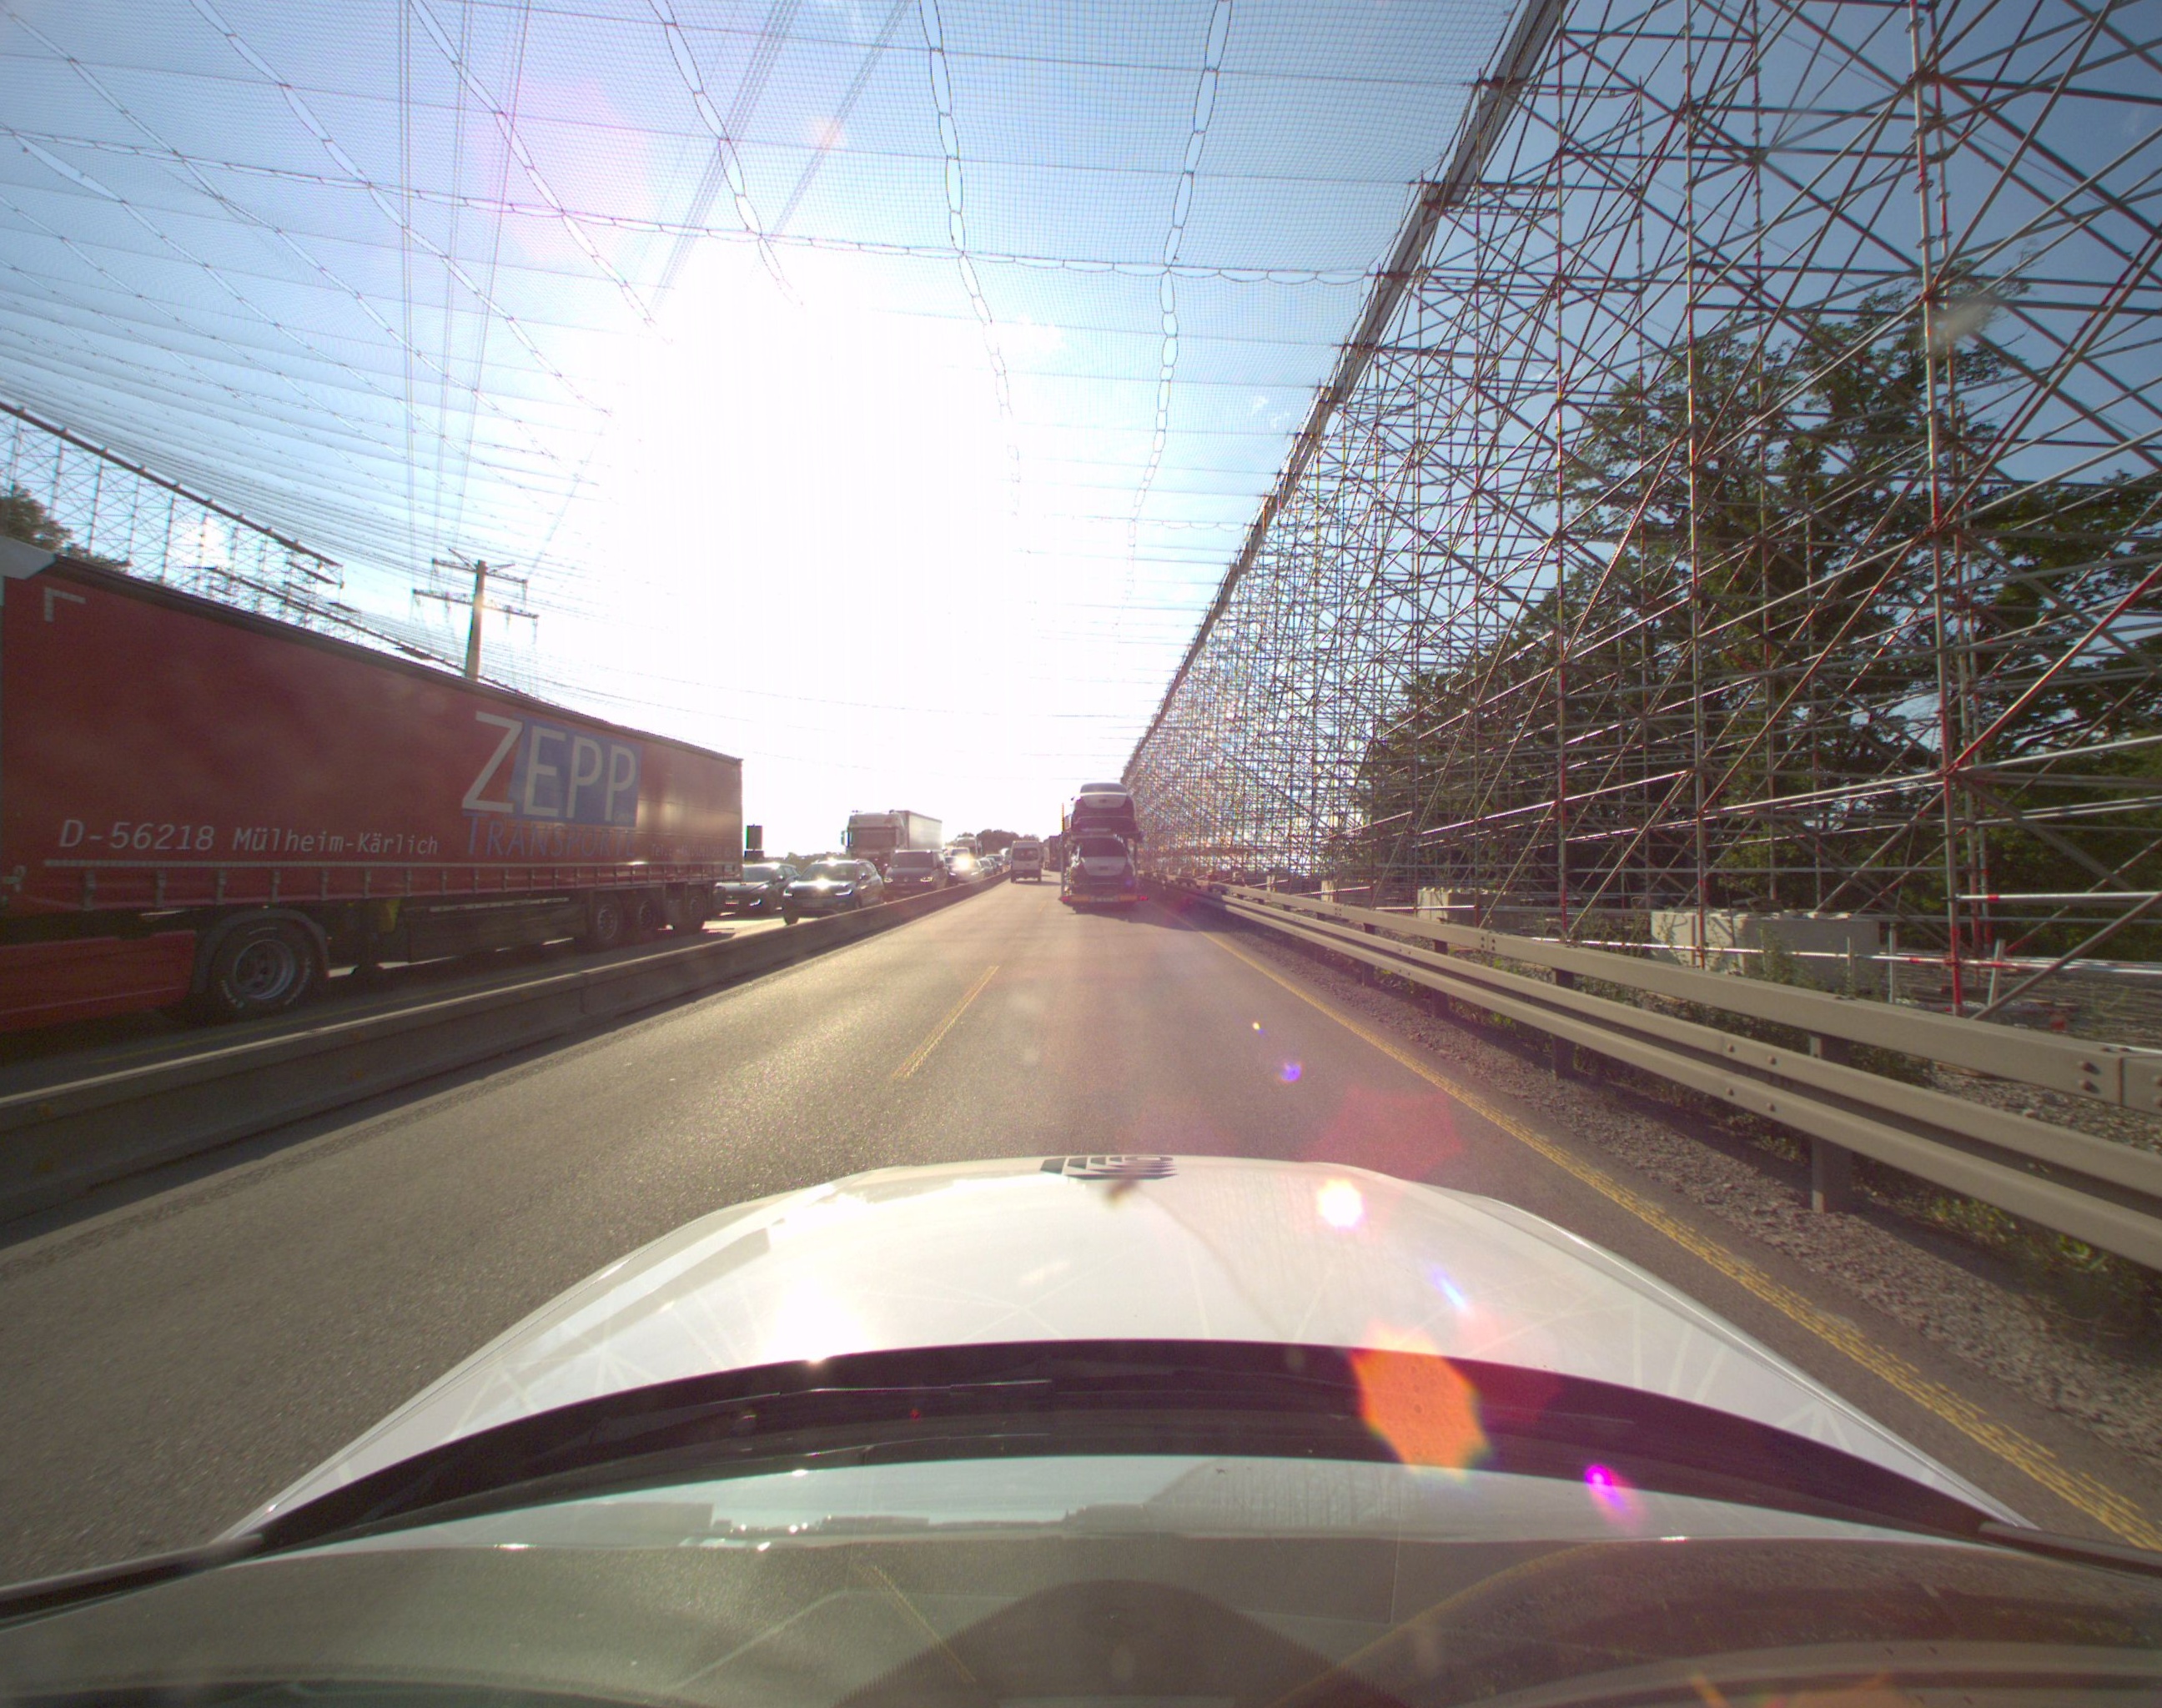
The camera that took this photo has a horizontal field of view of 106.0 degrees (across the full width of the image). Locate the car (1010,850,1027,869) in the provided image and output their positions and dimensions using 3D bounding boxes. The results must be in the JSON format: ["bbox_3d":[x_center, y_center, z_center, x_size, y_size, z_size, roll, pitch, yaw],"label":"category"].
[{"bbox_3d":[-8.593,0.743,111.667,1.992,2.578,3.989,0,0,-8],"label":"car"}]

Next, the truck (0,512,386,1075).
[{"bbox_3d":[-9.332,-0.426,5.986,2.779,4.141,6.675,-1,-1,-1],"label":"truck"}]

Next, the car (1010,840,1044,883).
[{"bbox_3d":[-3.475,0.498,52.767,1.951,2.621,3.997,-2,-1,-1],"label":"car"}]

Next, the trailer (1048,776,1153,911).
[{"bbox_3d":[0.546,-0.196,30.195,2.860,3.725,14.943,-1,-1,0],"label":"trailer"}]

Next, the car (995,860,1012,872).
[{"bbox_3d":[-9.520,1.415,100.206,1.836,1.453,3.987,0,0,-9],"label":"car"}]

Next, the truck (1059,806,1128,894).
[{"bbox_3d":[0.542,-0.128,38.157,2.872,3.702,7.324,-1,-1,0],"label":"truck"}]

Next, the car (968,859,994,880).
[{"bbox_3d":[-7.501,1.131,61.399,1.739,1.543,4.398,0,0,-5],"label":"car"}]

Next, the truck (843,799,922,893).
[{"bbox_3d":[-9.619,-0.355,40.052,2.657,4.230,6.097,-1,-1,-3],"label":"truck"}]

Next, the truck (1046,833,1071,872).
[{"bbox_3d":[-2.720,-0.137,95.887,2.725,4.386,11.511,0,0,-2],"label":"truck"}]

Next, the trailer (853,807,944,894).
[{"bbox_3d":[-10.037,-0.135,46.661,2.647,4.233,13.905,0,0,-3],"label":"trailer"}]

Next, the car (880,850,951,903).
[{"bbox_3d":[-6.460,0.830,32.291,1.869,1.935,4.859,0,0,-1],"label":"car"}]

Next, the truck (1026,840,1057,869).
[{"bbox_3d":[-6.573,0.143,131.530,3.684,4.221,13.631,-4,0,-7],"label":"truck"}]

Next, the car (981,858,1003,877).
[{"bbox_3d":[-7.952,1.176,72.985,1.691,1.629,3.997,0,0,-2],"label":"car"}]

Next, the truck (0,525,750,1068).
[{"bbox_3d":[-9.435,-0.333,13.070,2.779,4.141,13.800,-1,-1,-1],"label":"truck"}]

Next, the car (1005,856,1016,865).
[{"bbox_3d":[-12.377,1.132,143.066,1.707,1.618,3.498,-1,-1,-4],"label":"car"}]

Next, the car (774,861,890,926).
[{"bbox_3d":[-6.320,0.939,21.173,1.737,1.535,4.265,0,0,-1],"label":"car"}]

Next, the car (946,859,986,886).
[{"bbox_3d":[-6.682,1.059,47.861,1.779,1.502,4.751,0,0,-2],"label":"car"}]

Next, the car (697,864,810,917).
[{"bbox_3d":[-9.689,1.026,24.472,1.716,1.447,4.137,0,0,0],"label":"car"}]

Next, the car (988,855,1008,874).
[{"bbox_3d":[-8.532,1.067,83.923,1.832,1.893,3.997,0,0,-2],"label":"car"}]

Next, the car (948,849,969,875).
[{"bbox_3d":[-12.683,0.817,84.554,1.992,2.541,3.989,0,0,-8],"label":"car"}]

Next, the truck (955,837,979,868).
[{"bbox_3d":[-13.734,-0.119,98.547,2.592,3.473,12.362,0,0,-7],"label":"truck"}]

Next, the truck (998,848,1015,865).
[{"bbox_3d":[-16.920,0.526,184.431,2.618,3.723,9.620,0,0,-12],"label":"truck"}]
